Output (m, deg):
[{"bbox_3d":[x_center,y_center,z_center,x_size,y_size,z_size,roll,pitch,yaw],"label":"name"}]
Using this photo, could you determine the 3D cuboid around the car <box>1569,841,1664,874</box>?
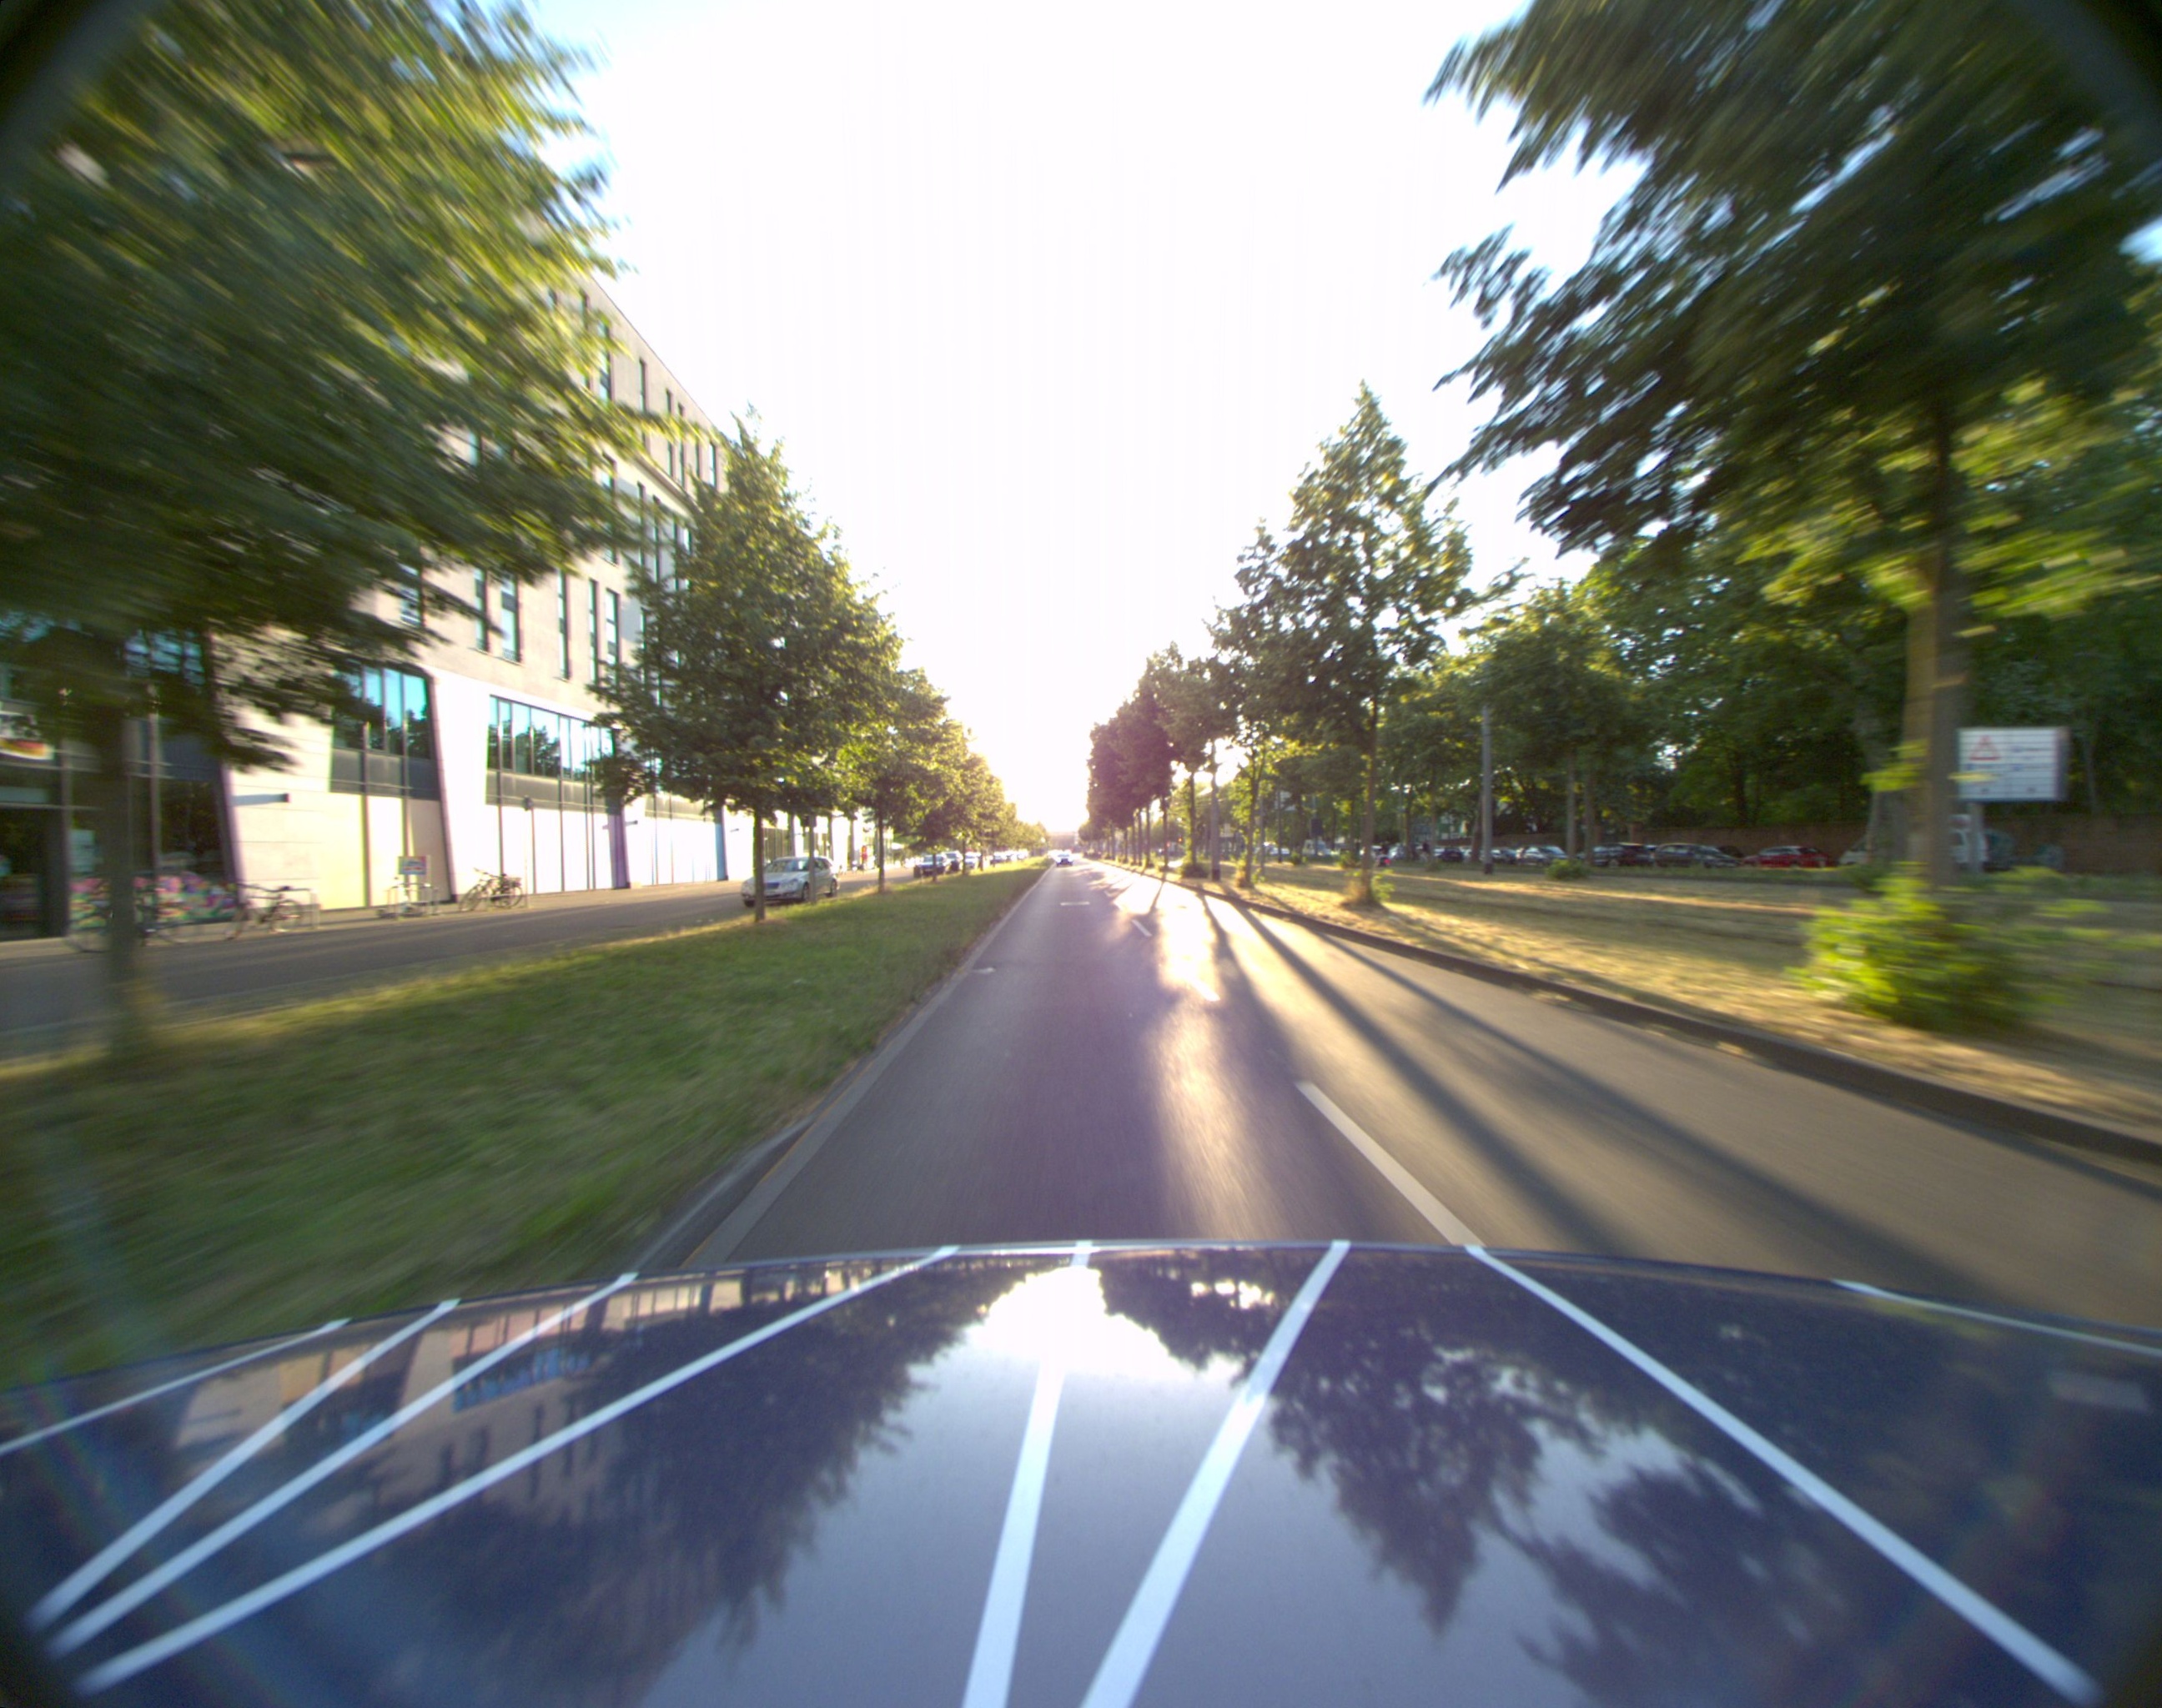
[{"bbox_3d":[30.605,0.161,43.619,1.999,1.740,4.789,-1,1,-2],"label":"car"}]

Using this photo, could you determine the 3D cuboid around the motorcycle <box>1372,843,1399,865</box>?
[{"bbox_3d":[19.079,-0.011,47.721,0.683,1.329,2.344,-1,1,-2],"label":"motorcycle"}]

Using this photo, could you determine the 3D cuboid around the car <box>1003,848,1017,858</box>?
[{"bbox_3d":[-10.669,-0.135,114.718,1.754,1.390,3.999,-2,0,-2],"label":"car"}]

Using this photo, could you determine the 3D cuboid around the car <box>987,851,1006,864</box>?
[{"bbox_3d":[-10.725,0.444,96.501,1.813,1.492,4.368,1,0,2],"label":"car"}]

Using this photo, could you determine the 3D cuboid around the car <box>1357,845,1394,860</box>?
[{"bbox_3d":[29.484,-0.161,76.218,1.999,1.490,4.556,-1,1,0],"label":"car"}]

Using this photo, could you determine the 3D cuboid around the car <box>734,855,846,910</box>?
[{"bbox_3d":[-9.068,0.826,24.177,1.813,1.492,4.824,-1,0,-2],"label":"car"}]

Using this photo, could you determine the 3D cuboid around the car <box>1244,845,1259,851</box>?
[{"bbox_3d":[33.754,-1.149,150.400,1.998,1.194,4.089,-1,0,0],"label":"car"}]

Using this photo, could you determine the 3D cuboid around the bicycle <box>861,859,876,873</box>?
[{"bbox_3d":[-16.648,0.917,59.488,0.621,1.027,2.260,-1,1,-2],"label":"bicycle"}]

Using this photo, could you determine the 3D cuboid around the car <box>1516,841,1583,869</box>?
[{"bbox_3d":[30.225,0.048,49.217,1.998,1.740,4.161,-1,1,4],"label":"car"}]

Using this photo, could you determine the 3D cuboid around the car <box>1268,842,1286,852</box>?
[{"bbox_3d":[32.225,-1.172,124.988,1.998,1.492,4.298,-1,0,0],"label":"car"}]

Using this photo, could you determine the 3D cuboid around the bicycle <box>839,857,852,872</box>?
[{"bbox_3d":[-16.755,0.727,54.023,0.535,1.053,1.611,-1,1,-7],"label":"bicycle"}]

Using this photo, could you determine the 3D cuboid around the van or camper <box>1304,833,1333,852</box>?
[{"bbox_3d":[31.523,-1.476,101.056,2.289,2.351,5.783,-1,0,4],"label":"van or camper"}]

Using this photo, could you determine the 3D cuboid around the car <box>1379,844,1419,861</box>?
[{"bbox_3d":[29.539,-0.193,70.657,1.904,1.491,4.305,-1,1,0],"label":"car"}]

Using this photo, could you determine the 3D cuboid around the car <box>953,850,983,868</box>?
[{"bbox_3d":[-9.725,0.402,65.616,1.926,1.492,5.008,-1,0,-2],"label":"car"}]

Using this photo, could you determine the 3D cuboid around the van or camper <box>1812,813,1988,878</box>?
[{"bbox_3d":[37.556,-0.385,35.128,2.090,2.720,5.493,-1,1,-3],"label":"van or camper"}]

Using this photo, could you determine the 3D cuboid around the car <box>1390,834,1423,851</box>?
[{"bbox_3d":[40.050,-1.365,93.658,1.998,2.002,5.059,-1,0,2],"label":"car"}]

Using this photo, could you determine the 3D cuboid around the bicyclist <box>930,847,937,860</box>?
[{"bbox_3d":[-18.371,-0.030,94.737,0.545,1.559,1.020,-1,1,2],"label":"bicyclist"}]

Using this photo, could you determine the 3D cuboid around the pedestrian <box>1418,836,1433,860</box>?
[{"bbox_3d":[26.753,-0.473,58.950,0.695,1.859,0.865,-1,1,-9],"label":"pedestrian"}]

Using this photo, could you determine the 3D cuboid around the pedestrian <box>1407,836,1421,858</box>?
[{"bbox_3d":[26.271,-0.531,59.915,0.695,1.733,0.866,-1,1,-3],"label":"pedestrian"}]

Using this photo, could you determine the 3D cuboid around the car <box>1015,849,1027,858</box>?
[{"bbox_3d":[-11.229,-0.093,142.049,1.925,1.492,5.409,-1,0,-2],"label":"car"}]

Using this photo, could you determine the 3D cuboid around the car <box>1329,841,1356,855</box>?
[{"bbox_3d":[30.250,-0.696,88.015,1.997,1.630,4.001,-1,0,6],"label":"car"}]

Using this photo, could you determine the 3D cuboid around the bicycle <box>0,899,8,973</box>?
[{"bbox_3d":[-15.715,1.178,10.017,0.534,1.055,1.856,1,0,-1],"label":"bicycle"}]

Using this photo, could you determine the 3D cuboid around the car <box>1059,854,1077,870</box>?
[{"bbox_3d":[-1.457,0.849,81.523,1.828,1.625,3.999,-1,0,-2],"label":"car"}]

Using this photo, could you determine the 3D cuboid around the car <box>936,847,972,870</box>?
[{"bbox_3d":[-9.672,0.317,58.303,1.958,1.614,4.819,-3,1,-2],"label":"car"}]

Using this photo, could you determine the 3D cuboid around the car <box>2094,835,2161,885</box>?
[{"bbox_3d":[37.662,0.162,25.755,3.997,1.630,1.922,-1,1,1],"label":"car"}]

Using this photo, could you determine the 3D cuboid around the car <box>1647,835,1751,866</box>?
[{"bbox_3d":[31.134,-0.187,38.446,1.999,1.477,3.999,-1,1,-1],"label":"car"}]

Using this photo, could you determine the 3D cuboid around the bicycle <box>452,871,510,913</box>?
[{"bbox_3d":[-16.588,1.030,21.046,0.535,1.055,1.854,1,0,-13],"label":"bicycle"}]

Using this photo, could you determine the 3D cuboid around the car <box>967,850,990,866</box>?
[{"bbox_3d":[-9.857,0.358,73.199,1.813,1.492,3.958,-1,0,-2],"label":"car"}]

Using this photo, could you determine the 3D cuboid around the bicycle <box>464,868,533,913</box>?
[{"bbox_3d":[-16.125,0.987,21.086,0.539,1.157,1.780,1,0,-1],"label":"bicycle"}]

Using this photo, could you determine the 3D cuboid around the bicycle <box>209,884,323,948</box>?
[{"bbox_3d":[-15.391,1.129,14.417,0.535,1.055,1.854,1,0,-13],"label":"bicycle"}]

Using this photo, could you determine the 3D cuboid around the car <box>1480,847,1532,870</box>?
[{"bbox_3d":[30.429,0.264,54.540,1.807,1.551,3.838,-1,1,4],"label":"car"}]

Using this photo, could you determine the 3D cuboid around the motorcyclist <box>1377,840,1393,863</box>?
[{"bbox_3d":[19.081,-0.160,47.741,0.683,1.368,0.804,-1,1,-2],"label":"motorcyclist"}]

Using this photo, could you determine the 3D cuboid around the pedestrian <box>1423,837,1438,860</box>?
[{"bbox_3d":[27.431,-0.449,59.573,0.695,1.749,0.865,-1,1,-9],"label":"pedestrian"}]

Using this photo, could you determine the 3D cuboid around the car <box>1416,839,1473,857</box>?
[{"bbox_3d":[28.675,-0.461,60.171,1.999,1.307,5.141,-1,1,0],"label":"car"}]

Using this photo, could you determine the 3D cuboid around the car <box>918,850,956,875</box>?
[{"bbox_3d":[-9.569,0.540,50.925,1.728,1.492,4.232,-2,0,-1],"label":"car"}]

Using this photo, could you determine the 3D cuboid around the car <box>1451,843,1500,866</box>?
[{"bbox_3d":[31.503,-0.007,60.803,1.998,1.740,4.161,-1,1,4],"label":"car"}]

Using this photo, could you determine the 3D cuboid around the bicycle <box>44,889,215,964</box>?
[{"bbox_3d":[-15.740,1.168,12.658,0.534,1.055,1.856,1,0,-1],"label":"bicycle"}]

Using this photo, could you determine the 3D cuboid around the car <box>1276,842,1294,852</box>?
[{"bbox_3d":[32.069,-1.098,119.401,1.814,1.522,4.053,-1,0,0],"label":"car"}]

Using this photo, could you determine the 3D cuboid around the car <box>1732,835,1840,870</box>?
[{"bbox_3d":[37.362,-0.098,40.429,1.999,1.740,3.999,-1,1,-2],"label":"car"}]

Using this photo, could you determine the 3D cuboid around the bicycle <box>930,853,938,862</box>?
[{"bbox_3d":[-18.366,0.463,94.700,0.544,1.111,1.913,-1,1,2],"label":"bicycle"}]

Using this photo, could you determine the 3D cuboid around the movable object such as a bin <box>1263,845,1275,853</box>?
[{"bbox_3d":[32.041,-0.914,129.721,1.556,1.364,1.724,-1,1,0],"label":"movable object such as a bin"}]
